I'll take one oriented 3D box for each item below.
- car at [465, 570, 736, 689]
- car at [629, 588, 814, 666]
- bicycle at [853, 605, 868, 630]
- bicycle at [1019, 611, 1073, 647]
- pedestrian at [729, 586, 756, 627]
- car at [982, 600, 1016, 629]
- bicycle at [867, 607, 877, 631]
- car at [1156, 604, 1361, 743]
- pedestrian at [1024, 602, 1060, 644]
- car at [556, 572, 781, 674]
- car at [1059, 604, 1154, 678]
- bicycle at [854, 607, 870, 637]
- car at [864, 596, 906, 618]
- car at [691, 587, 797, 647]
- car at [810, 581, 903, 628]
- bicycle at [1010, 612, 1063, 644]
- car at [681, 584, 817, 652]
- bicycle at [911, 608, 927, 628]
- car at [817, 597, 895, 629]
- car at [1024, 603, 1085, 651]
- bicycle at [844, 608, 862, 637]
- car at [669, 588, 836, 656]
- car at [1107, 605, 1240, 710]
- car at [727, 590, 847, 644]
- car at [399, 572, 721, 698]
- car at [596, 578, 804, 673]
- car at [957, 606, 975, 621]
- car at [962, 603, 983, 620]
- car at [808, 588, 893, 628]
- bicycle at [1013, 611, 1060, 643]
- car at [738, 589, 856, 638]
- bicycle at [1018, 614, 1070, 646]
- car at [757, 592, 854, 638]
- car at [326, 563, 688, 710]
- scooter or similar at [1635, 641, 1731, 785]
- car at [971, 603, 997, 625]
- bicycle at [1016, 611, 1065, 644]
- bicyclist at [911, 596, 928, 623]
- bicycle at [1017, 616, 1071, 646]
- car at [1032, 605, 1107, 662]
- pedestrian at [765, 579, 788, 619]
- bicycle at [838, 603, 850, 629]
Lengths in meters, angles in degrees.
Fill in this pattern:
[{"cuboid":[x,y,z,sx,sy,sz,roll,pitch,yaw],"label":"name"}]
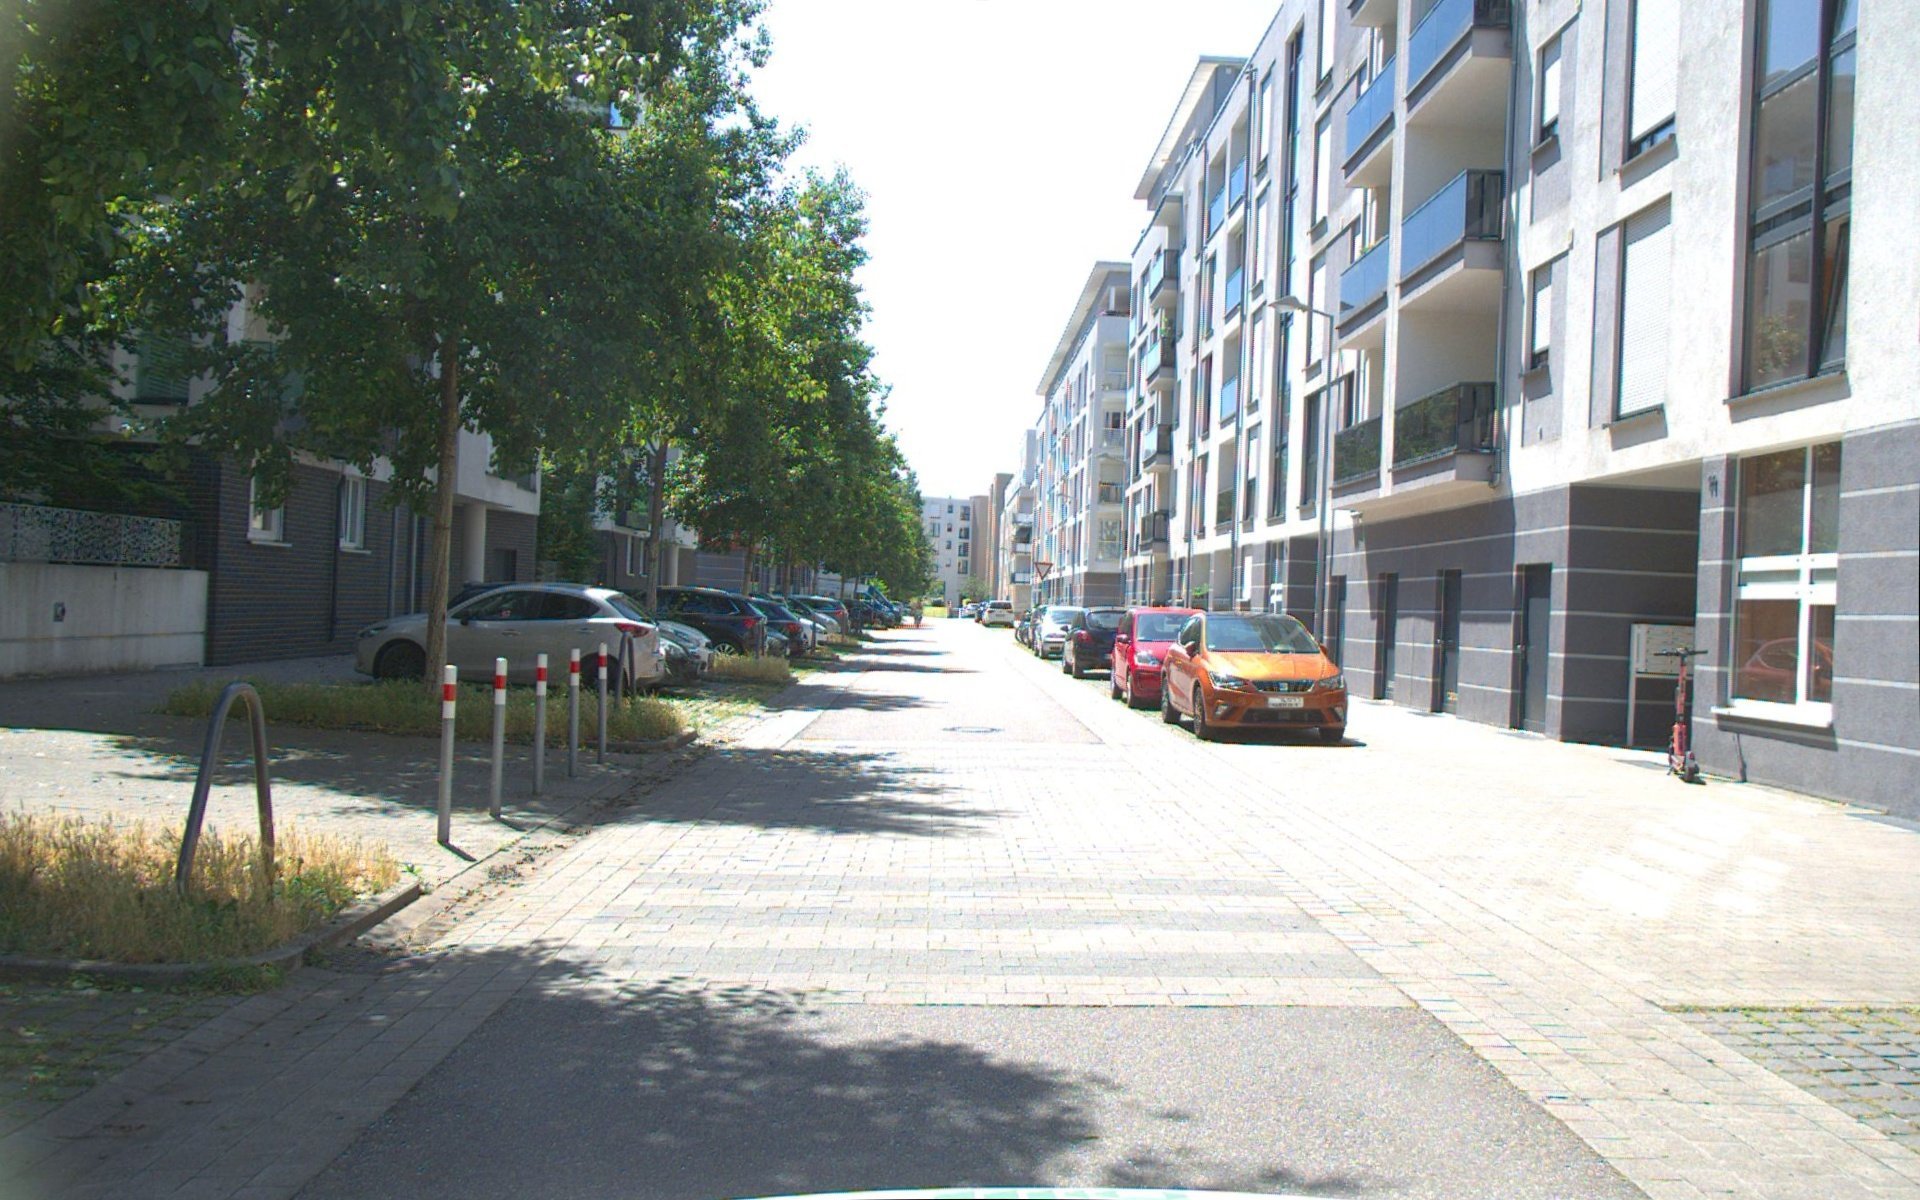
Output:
[{"cuboid":[-5.779,0.467,26.933,3.906,1.619,1.883,4,0,0],"label":"car"},{"cuboid":[-5.272,0.594,37.021,3.897,1.470,1.774,4,-1,-5],"label":"car"},{"cuboid":[-5.131,0.903,85.433,0.559,1.194,1.766,5,1,-8],"label":"bicycle"},{"cuboid":[3.055,1.034,59.086,1.833,1.239,0.715,1,0,-5],"label":"bicycle"},{"cuboid":[-9.310,0.263,70.928,0.979,1.720,0.832,2,0,0],"label":"pedestrian"},{"cuboid":[2.413,0.894,102.873,1.956,1.686,4.115,1,0,0],"label":"car"},{"cuboid":[-4.557,0.979,85.662,0.456,1.161,1.925,2,0,-3],"label":"bicycle"},{"cuboid":[3.558,0.816,20.439,1.702,1.513,4.258,1,0,-1],"label":"car"},{"cuboid":[3.037,0.849,61.317,1.157,1.541,0.686,1,0,-11],"label":"pedestrian"},{"cuboid":[-5.552,0.437,31.847,3.906,1.657,1.933,4,0,-1],"label":"car"},{"cuboid":[3.106,0.830,35.735,1.609,1.488,4.116,0,0,-1],"label":"car"},{"cuboid":[-3.975,0.889,66.969,0.364,1.201,1.815,1,0,-12],"label":"bicycle"},{"cuboid":[-7.533,0.666,166.972,3.903,2.049,2.001,2,0,6],"label":"car"},{"cuboid":[-6.420,0.503,49.436,2.874,1.526,1.847,5,0,-2],"label":"car"},{"cuboid":[-6.738,0.294,108.149,5.901,2.865,2.604,1,0,-1],"label":"car"},{"cuboid":[2.877,1.053,62.135,1.882,1.153,0.609,1,0,8],"label":"bicycle"},{"cuboid":[-5.887,0.502,46.442,3.637,1.613,1.818,4,-1,-6],"label":"car"},{"cuboid":[-2.354,1.032,95.399,0.880,1.149,2.039,2,0,-1],"label":"bicycle"},{"cuboid":[-5.964,0.745,95.542,4.295,1.541,2.075,4,0,-1],"label":"car"},{"cuboid":[3.128,0.871,55.443,1.703,1.511,4.228,1,0,-1],"label":"car"},{"cuboid":[-4.329,0.906,66.935,0.426,1.147,1.972,1,0,-12],"label":"bicycle"},{"cuboid":[-5.465,0.583,44.033,4.274,1.740,1.999,0,0,-3],"label":"car"},{"cuboid":[3.279,0.845,25.969,1.563,1.512,3.675,0,0,-1],"label":"car"},{"cuboid":[-5.889,0.562,56.607,3.858,1.580,1.872,4,0,-1],"label":"car"},{"cuboid":[-5.801,0.501,24.371,4.229,1.501,1.792,4,0,-1],"label":"car"},{"cuboid":[-5.344,0.517,34.376,3.905,1.679,1.918,4,0,1],"label":"car"},{"cuboid":[0.736,1.644,198.729,1.953,1.747,3.998,2,0,-2],"label":"car"},{"cuboid":[1.253,1.160,171.513,1.953,1.704,3.998,2,0,-2],"label":"car"},{"cuboid":[-6.799,0.485,102.716,5.041,2.156,2.311,3,0,-1],"label":"car"},{"cuboid":[2.969,1.042,64.133,1.821,1.214,0.687,1,0,2],"label":"bicycle"},{"cuboid":[-5.830,0.499,59.506,4.099,1.512,1.957,3,-2,-5],"label":"car"},{"cuboid":[3.034,1.070,59.832,1.751,1.123,0.746,1,0,-5],"label":"bicycle"},{"cuboid":[-5.996,0.574,64.419,3.557,1.547,1.831,4,0,-1],"label":"car"},{"cuboid":[-5.891,0.466,21.924,4.167,1.544,1.924,5,0,-1],"label":"car"},{"cuboid":[6.837,1.039,15.695,0.534,1.247,1.530,3,0,14],"label":"scooter or similar"},{"cuboid":[1.799,1.040,122.971,1.721,1.579,4.001,3,0,2],"label":"car"},{"cuboid":[3.013,1.029,61.772,1.806,1.168,0.458,1,-1,-20],"label":"bicycle"},{"cuboid":[-2.328,0.538,95.447,0.934,1.485,0.799,2,0,-2],"label":"bicyclist"},{"cuboid":[3.073,1.119,60.526,1.885,1.053,0.559,1,-1,-5],"label":"bicycle"},{"cuboid":[3.062,0.909,47.123,1.797,1.531,4.350,1,0,-1],"label":"car"},{"cuboid":[-9.679,-0.052,87.275,0.988,2.049,1.129,2,0,2],"label":"pedestrian"},{"cuboid":[-6.013,0.828,85.679,0.508,1.225,1.751,4,1,-3],"label":"bicycle"}]
